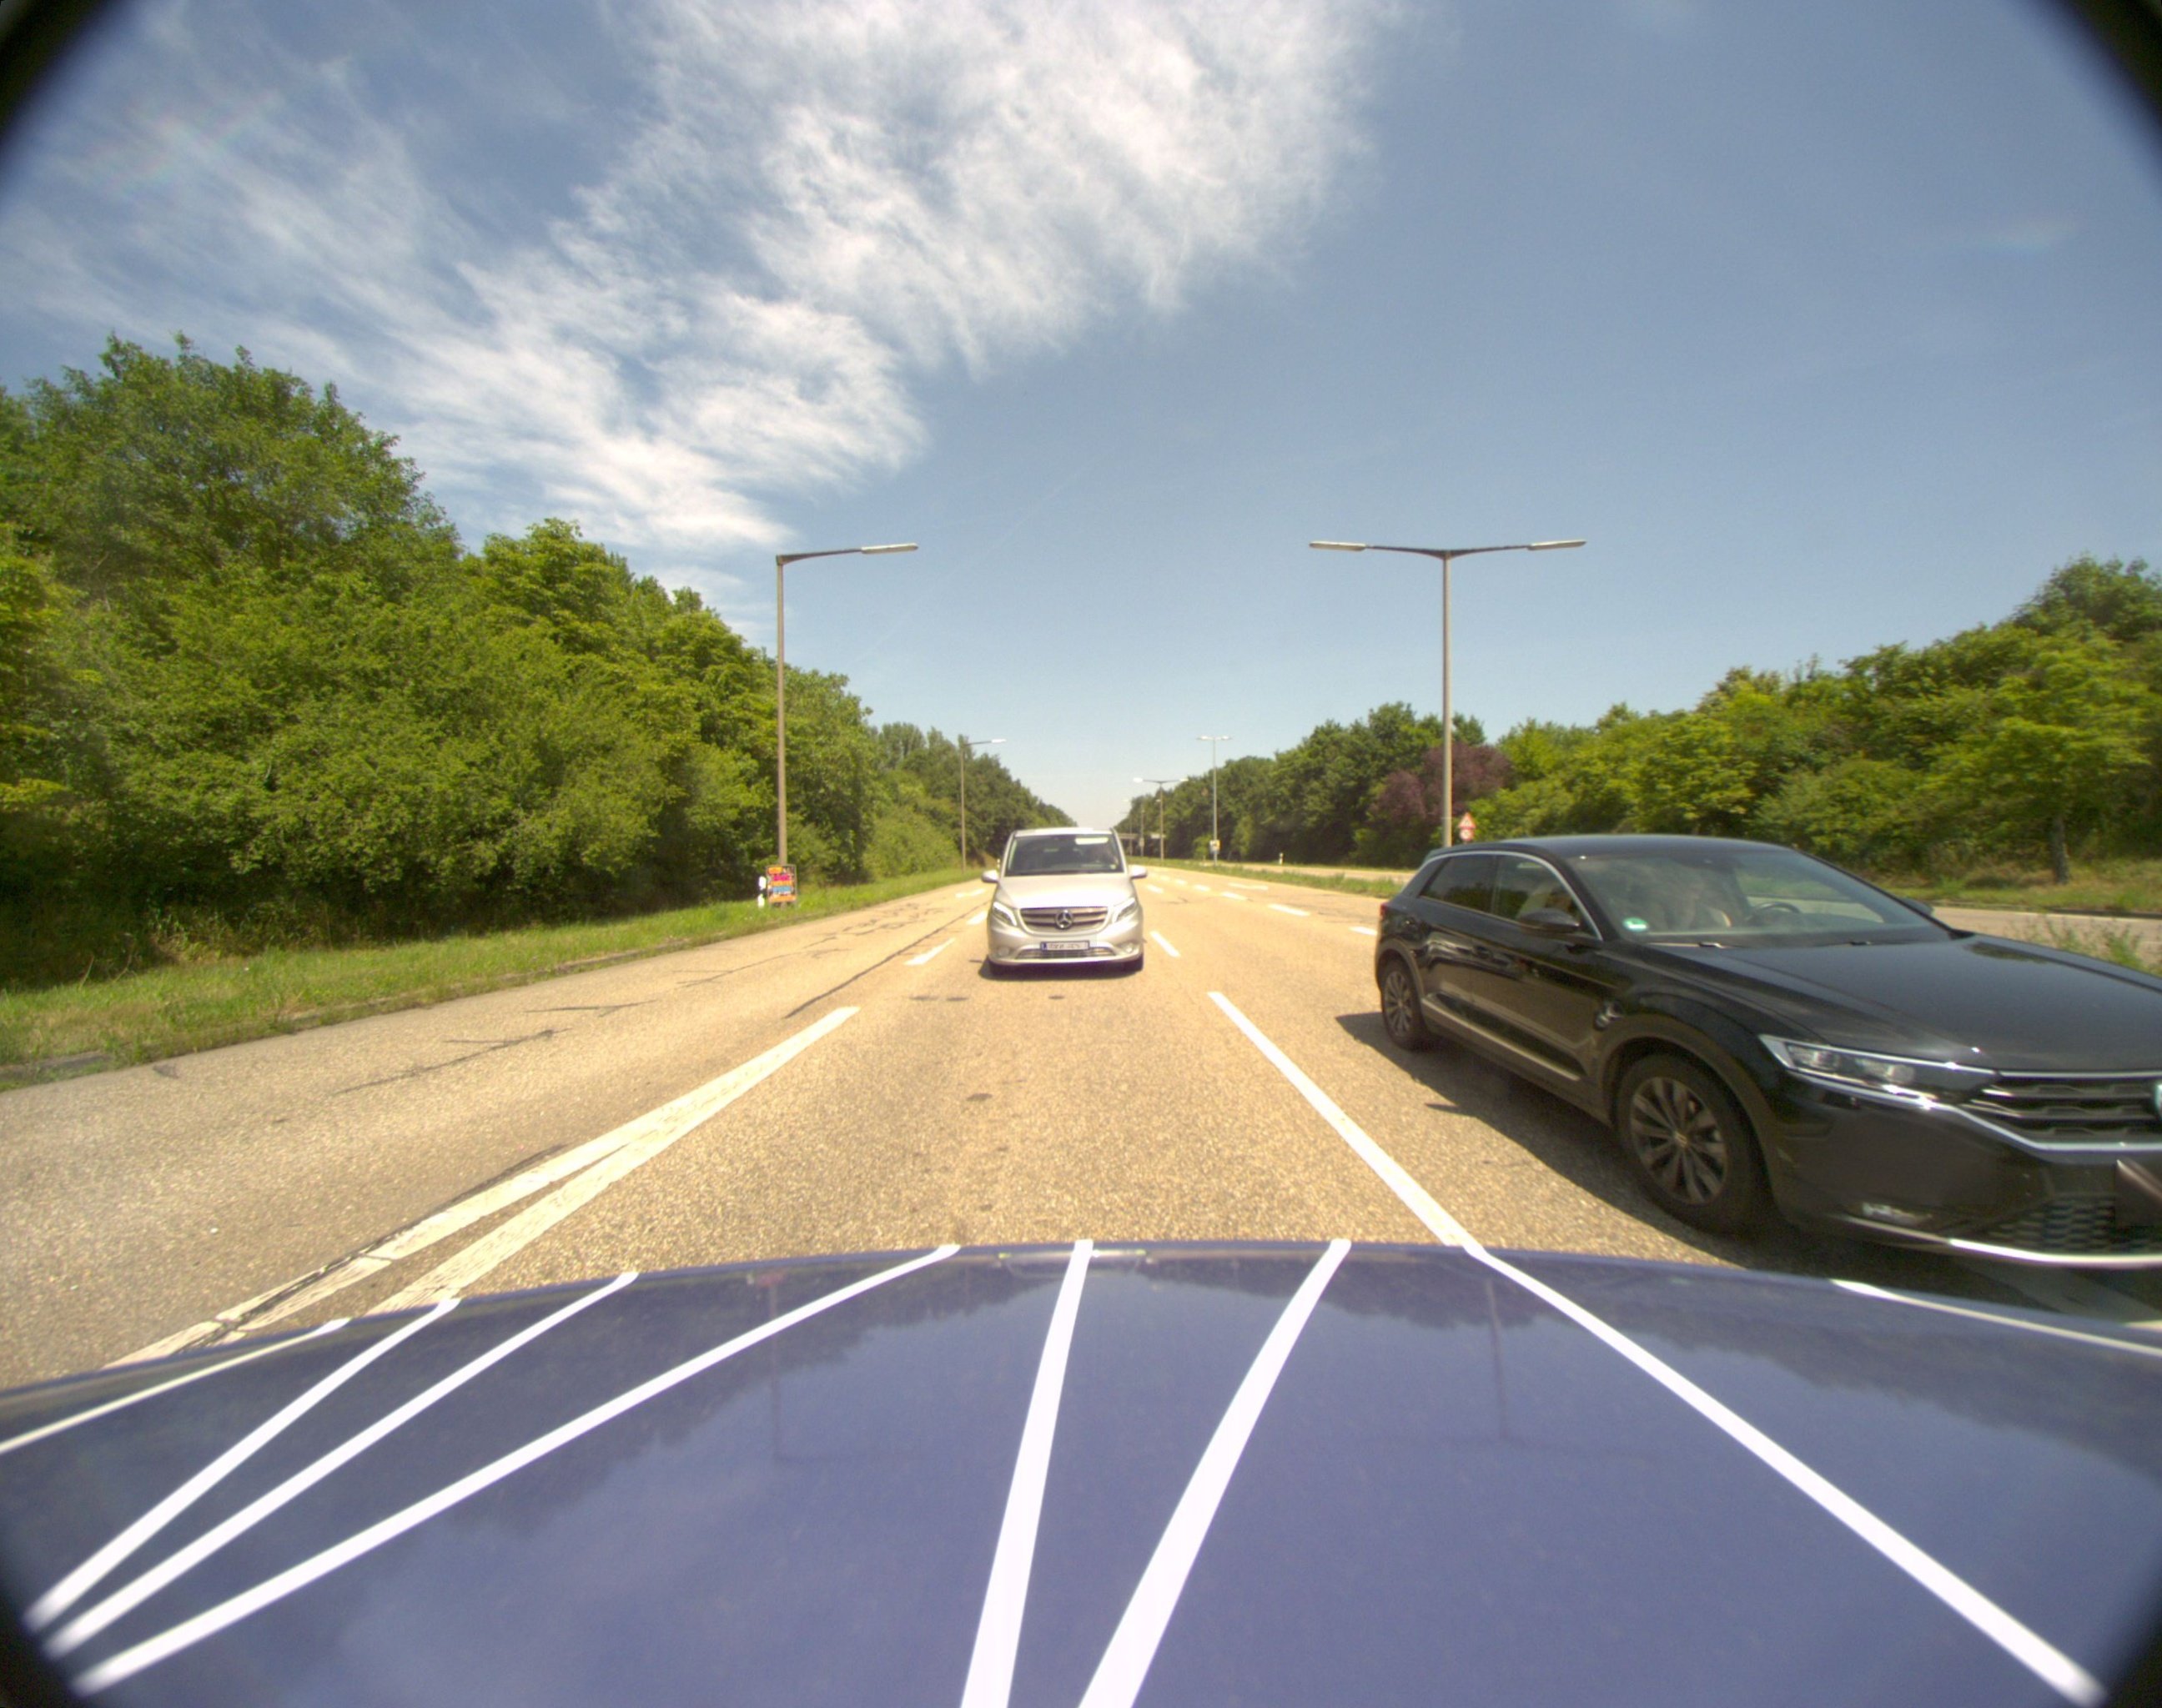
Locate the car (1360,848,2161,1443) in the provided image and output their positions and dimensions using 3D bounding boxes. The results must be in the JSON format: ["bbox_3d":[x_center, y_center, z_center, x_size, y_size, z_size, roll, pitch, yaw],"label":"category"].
[{"bbox_3d":[3.079,0.760,3.990,1.739,1.503,3.970,-2,1,0],"label":"car"}]

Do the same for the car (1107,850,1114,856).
[{"bbox_3d":[8.339,-0.263,212.739,1.735,1.815,4.321,-1,1,0],"label":"car"}]

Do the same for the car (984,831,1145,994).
[{"bbox_3d":[-0.183,0.639,11.060,1.764,1.795,4.854,-2,1,0],"label":"car"}]

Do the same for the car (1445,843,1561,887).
[{"bbox_3d":[15.327,0.352,27.876,1.827,1.447,4.167,-1,1,-2],"label":"car"}]
